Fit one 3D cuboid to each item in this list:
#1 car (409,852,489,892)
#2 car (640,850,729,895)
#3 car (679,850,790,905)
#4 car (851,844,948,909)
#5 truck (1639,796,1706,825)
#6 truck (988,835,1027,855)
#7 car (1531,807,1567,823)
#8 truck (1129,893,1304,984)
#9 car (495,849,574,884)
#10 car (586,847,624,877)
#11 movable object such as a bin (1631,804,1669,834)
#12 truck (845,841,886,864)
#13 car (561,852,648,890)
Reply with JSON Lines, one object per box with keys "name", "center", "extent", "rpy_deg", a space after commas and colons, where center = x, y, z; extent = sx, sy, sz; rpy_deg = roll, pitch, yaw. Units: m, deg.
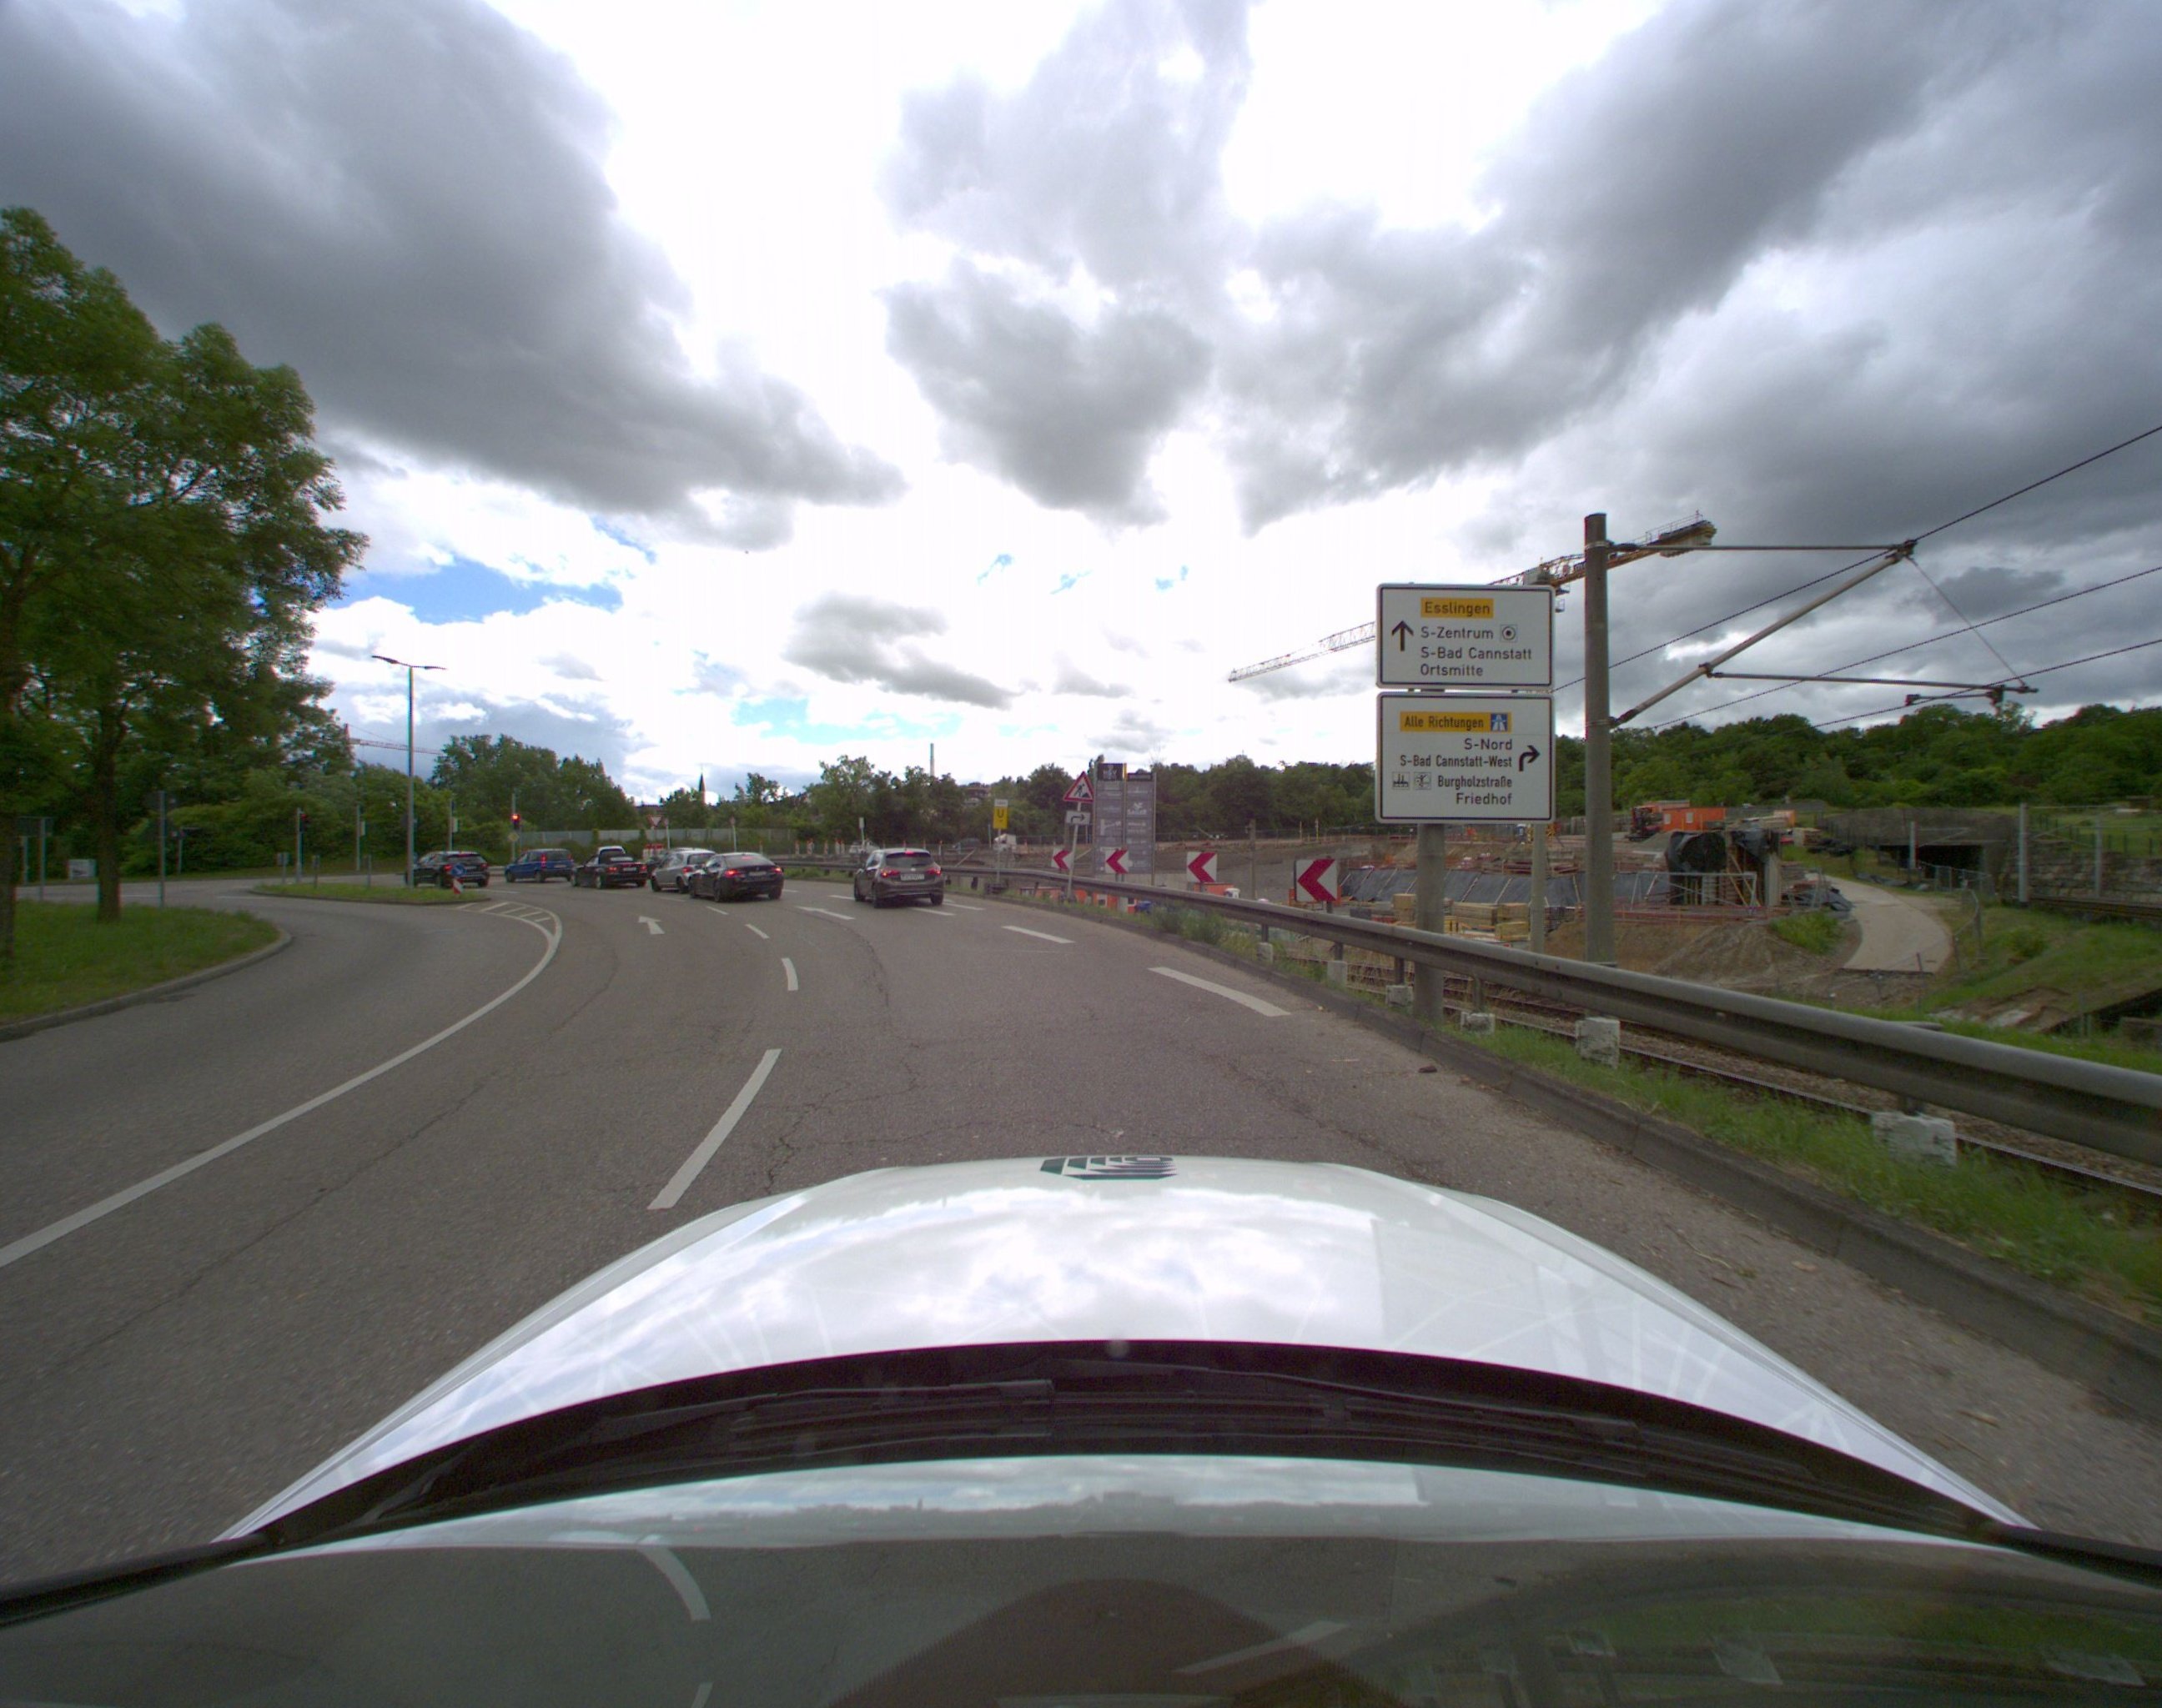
{"name": "car", "center": [-27.038, 0.727, 34.810], "extent": [3.721, 1.507, 1.672], "rpy_deg": [0, 4, 36]}
{"name": "car", "center": [-14.694, 0.640, 30.137], "extent": [3.582, 1.469, 1.684], "rpy_deg": [0, 4, 42]}
{"name": "car", "center": [-11.166, 0.662, 26.008], "extent": [1.889, 1.476, 4.906], "rpy_deg": [-4, 3, -40]}
{"name": "car", "center": [-5.087, 0.538, 22.408], "extent": [1.806, 1.552, 3.968], "rpy_deg": [-2, 1, -24]}
{"name": "truck", "center": [90.668, -6.669, 124.903], "extent": [9.785, 4.220, 3.103], "rpy_deg": [-1, 1, -17]}
{"name": "truck", "center": [-8.009, -0.997, 89.505], "extent": [1.974, 2.014, 4.025], "rpy_deg": [1, -1, 39]}
{"name": "car", "center": [64.074, -5.321, 111.464], "extent": [3.990, 2.014, 1.992], "rpy_deg": [-1, -1, -13]}
{"name": "truck", "center": [7.607, 4.710, 48.231], "extent": [2.859, 3.892, 11.495], "rpy_deg": [0, 2, -36]}
{"name": "car", "center": [-25.252, 0.564, 37.637], "extent": [3.338, 1.507, 1.557], "rpy_deg": [0, 2, 27]}
{"name": "car", "center": [-27.442, 0.466, 47.032], "extent": [1.722, 1.675, 3.963], "rpy_deg": [-1, -1, -28]}
{"name": "movable object such as a bin", "center": [61.318, -3.731, 87.767], "extent": [1.838, 3.077, 2.786], "rpy_deg": [-1, -1, -15]}
{"name": "truck", "center": [-19.755, -0.163, 74.767], "extent": [1.718, 2.014, 3.247], "rpy_deg": [1, -1, 35]}
{"name": "car", "center": [-19.557, 0.679, 33.386], "extent": [4.031, 1.368, 1.579], "rpy_deg": [-1, 3, 37]}
